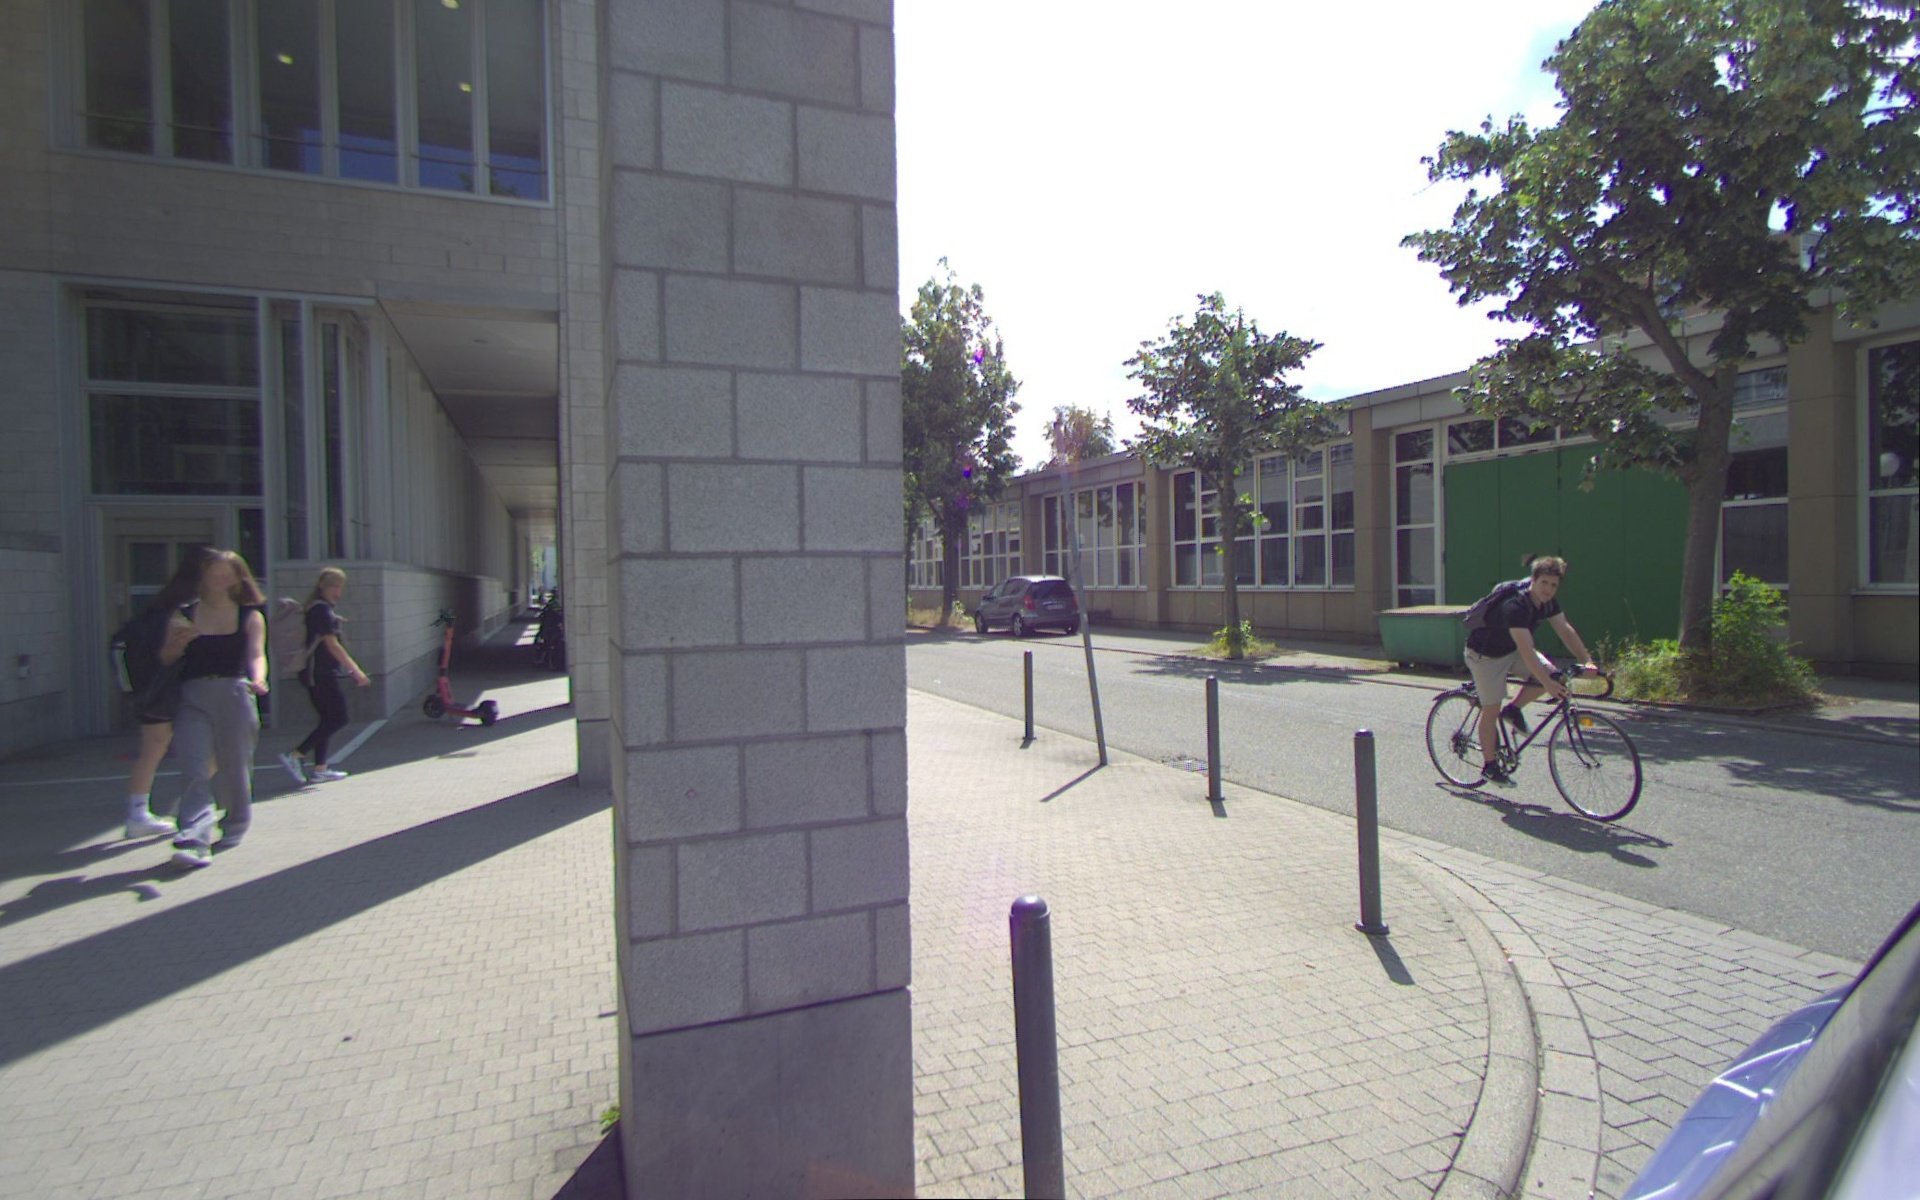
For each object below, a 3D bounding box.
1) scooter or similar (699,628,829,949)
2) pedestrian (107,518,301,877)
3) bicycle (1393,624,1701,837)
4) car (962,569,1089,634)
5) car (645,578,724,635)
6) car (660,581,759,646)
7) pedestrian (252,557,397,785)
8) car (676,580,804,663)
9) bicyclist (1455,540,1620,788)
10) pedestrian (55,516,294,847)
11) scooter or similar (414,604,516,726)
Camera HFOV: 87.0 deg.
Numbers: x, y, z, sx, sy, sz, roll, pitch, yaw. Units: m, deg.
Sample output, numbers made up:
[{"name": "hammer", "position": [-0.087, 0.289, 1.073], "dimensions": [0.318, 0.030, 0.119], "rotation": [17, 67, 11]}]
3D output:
[{"name": "scooter or similar", "position": [-0.902, 0.741, 4.492], "dimensions": [0.435, 1.165, 1.161], "rotation": [-1, 1, -17]}, {"name": "pedestrian", "position": [-3.901, 0.453, 5.291], "dimensions": [0.689, 1.676, 0.883], "rotation": [-1, -1, -30]}, {"name": "bicycle", "position": [3.877, 0.788, 6.876], "dimensions": [0.592, 1.121, 1.834], "rotation": [-3, 2, -20]}, {"name": "car", "position": [1.722, -0.018, 28.150], "dimensions": [1.813, 1.597, 4.143], "rotation": [-2, 2, -23]}, {"name": "car", "position": [-8.551, 0.146, 31.194], "dimensions": [1.813, 1.601, 4.143], "rotation": [-1, 1, -23]}, {"name": "car", "position": [-6.448, 0.267, 25.742], "dimensions": [1.813, 1.494, 4.143], "rotation": [-1, 1, -23]}, {"name": "pedestrian", "position": [-4.804, 0.490, 7.659], "dimensions": [0.813, 1.619, 0.588], "rotation": [-1, 1, -44]}, {"name": "car", "position": [-4.589, 0.344, 20.635], "dimensions": [1.813, 1.494, 4.143], "rotation": [-1, 1, -23]}, {"name": "bicyclist", "position": [3.882, 0.391, 6.833], "dimensions": [0.592, 1.553, 0.729], "rotation": [-3, 2, -20]}, {"name": "pedestrian", "position": [-4.558, 0.435, 5.898], "dimensions": [0.772, 1.746, 0.852], "rotation": [-2, -1, 28]}, {"name": "scooter or similar", "position": [-5.418, 0.675, 11.051], "dimensions": [1.419, 1.239, 0.354], "rotation": [0, 1, 35]}]
